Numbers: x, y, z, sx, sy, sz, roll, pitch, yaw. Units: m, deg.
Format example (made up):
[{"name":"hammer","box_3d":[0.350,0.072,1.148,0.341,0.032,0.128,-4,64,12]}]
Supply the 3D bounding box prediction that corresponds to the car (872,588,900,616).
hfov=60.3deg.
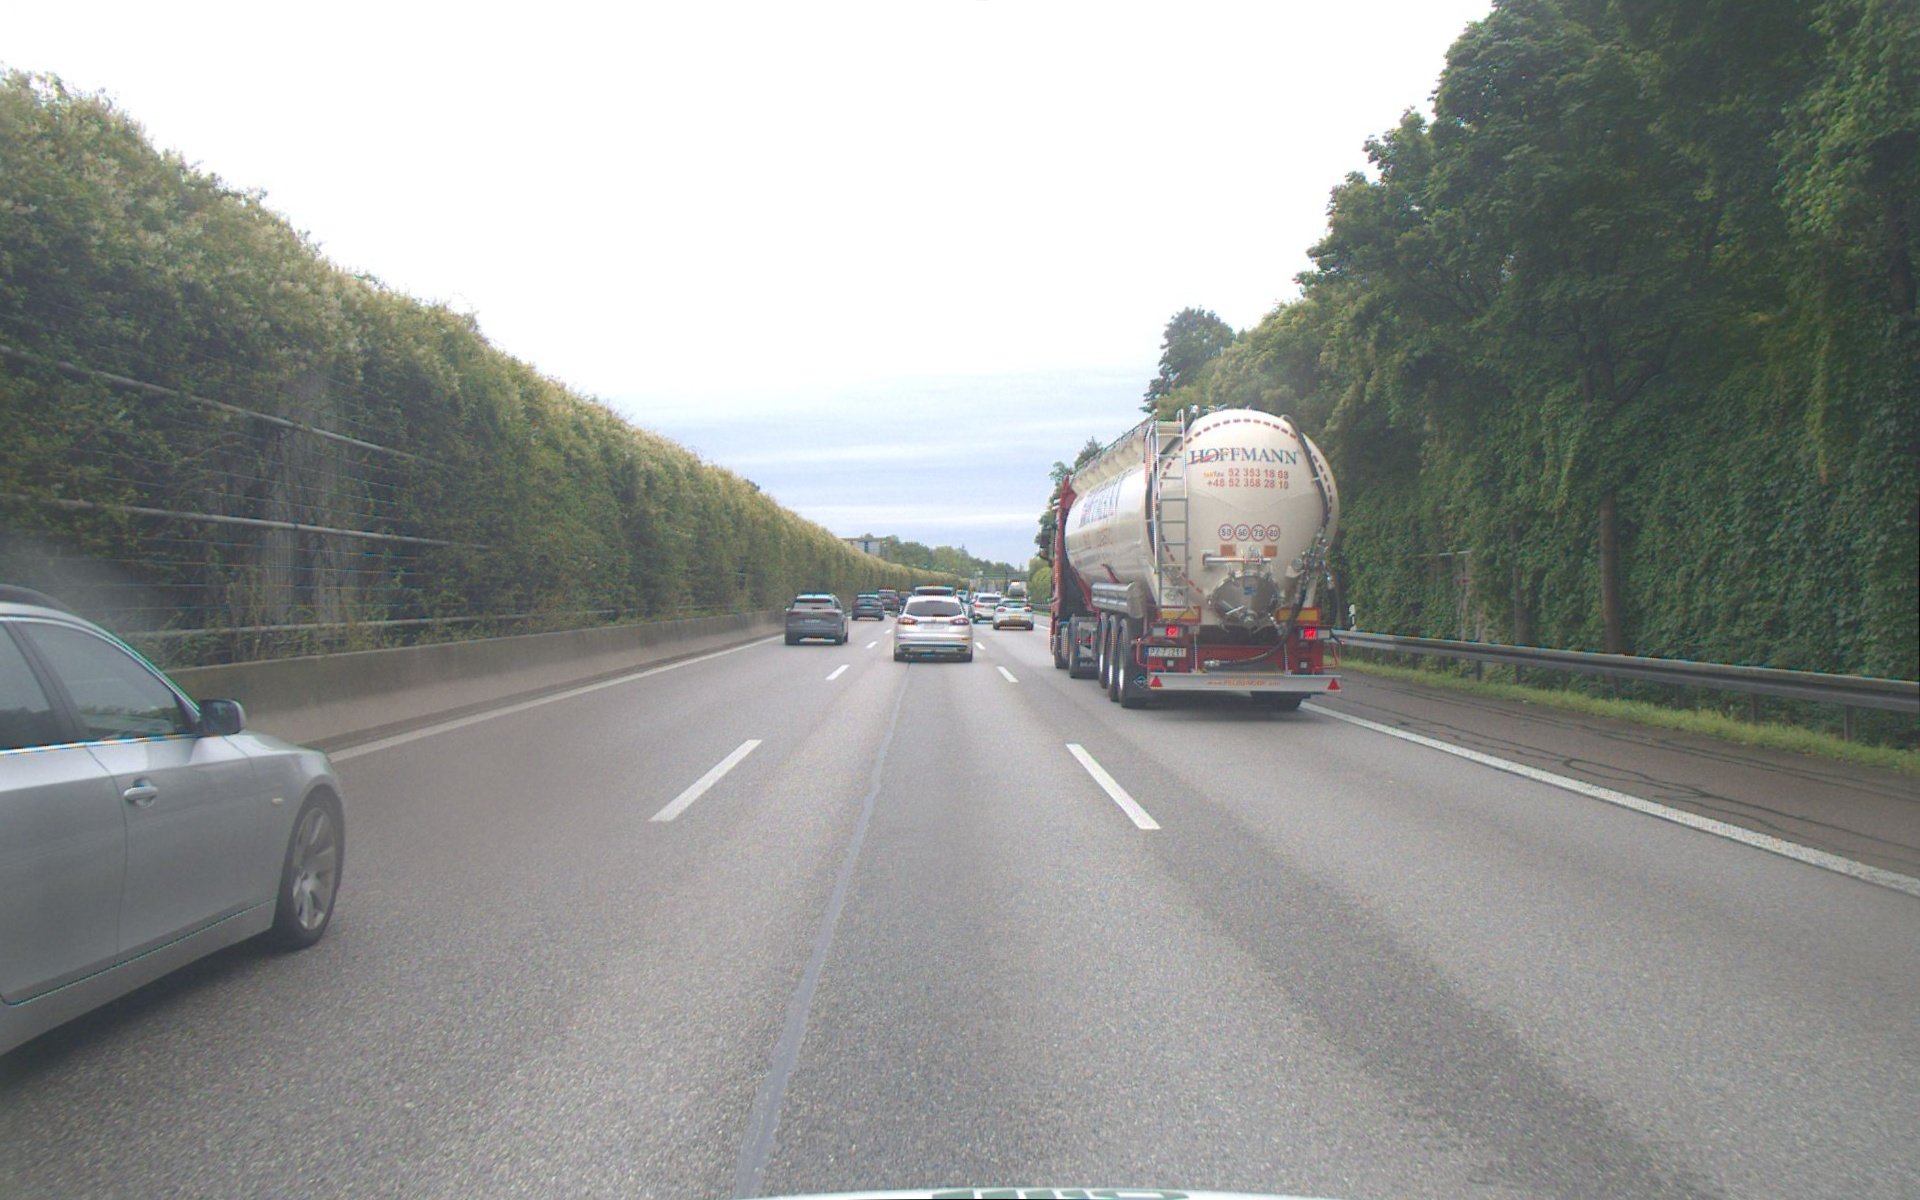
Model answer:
[{"name":"car","box_3d":[-5.495,0.146,123.877,1.953,2.049,3.999,1,0,-1]}]

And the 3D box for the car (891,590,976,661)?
[{"name":"car","box_3d":[-0.660,0.584,38.863,1.853,1.530,5.027,1,-1,-2]}]

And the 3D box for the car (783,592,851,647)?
[{"name":"car","box_3d":[-4.267,0.555,49.955,1.685,1.538,5.029,1,0,-1]}]

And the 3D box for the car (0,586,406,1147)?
[{"name":"car","box_3d":[-3.400,0.706,5.163,1.685,1.495,5.028,1,-1,-1]}]

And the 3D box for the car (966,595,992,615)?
[{"name":"car","box_3d":[1.296,0.351,113.031,1.654,1.354,3.870,1,0,-1]}]

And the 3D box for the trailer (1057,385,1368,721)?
[{"name":"trailer","box_3d":[3.408,-0.534,26.320,2.614,4.008,13.125,0,0,-1]}]

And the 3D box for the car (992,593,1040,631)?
[{"name":"car","box_3d":[2.471,0.511,73.814,1.779,1.654,5.028,1,0,-2]}]

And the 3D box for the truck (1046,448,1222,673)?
[{"name":"truck","box_3d":[3.288,-0.689,32.881,2.640,3.981,6.554,1,0,-1]}]

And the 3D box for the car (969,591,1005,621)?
[{"name":"car","box_3d":[1.419,0.316,89.058,1.655,1.533,3.869,1,0,-3]}]

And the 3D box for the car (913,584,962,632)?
[{"name":"car","box_3d":[-0.831,0.274,61.106,1.655,1.532,3.871,5,1,-1]}]

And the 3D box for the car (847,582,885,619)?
[{"name":"car","box_3d":[-5.317,0.002,94.148,1.953,2.049,3.840,1,0,-1]}]
